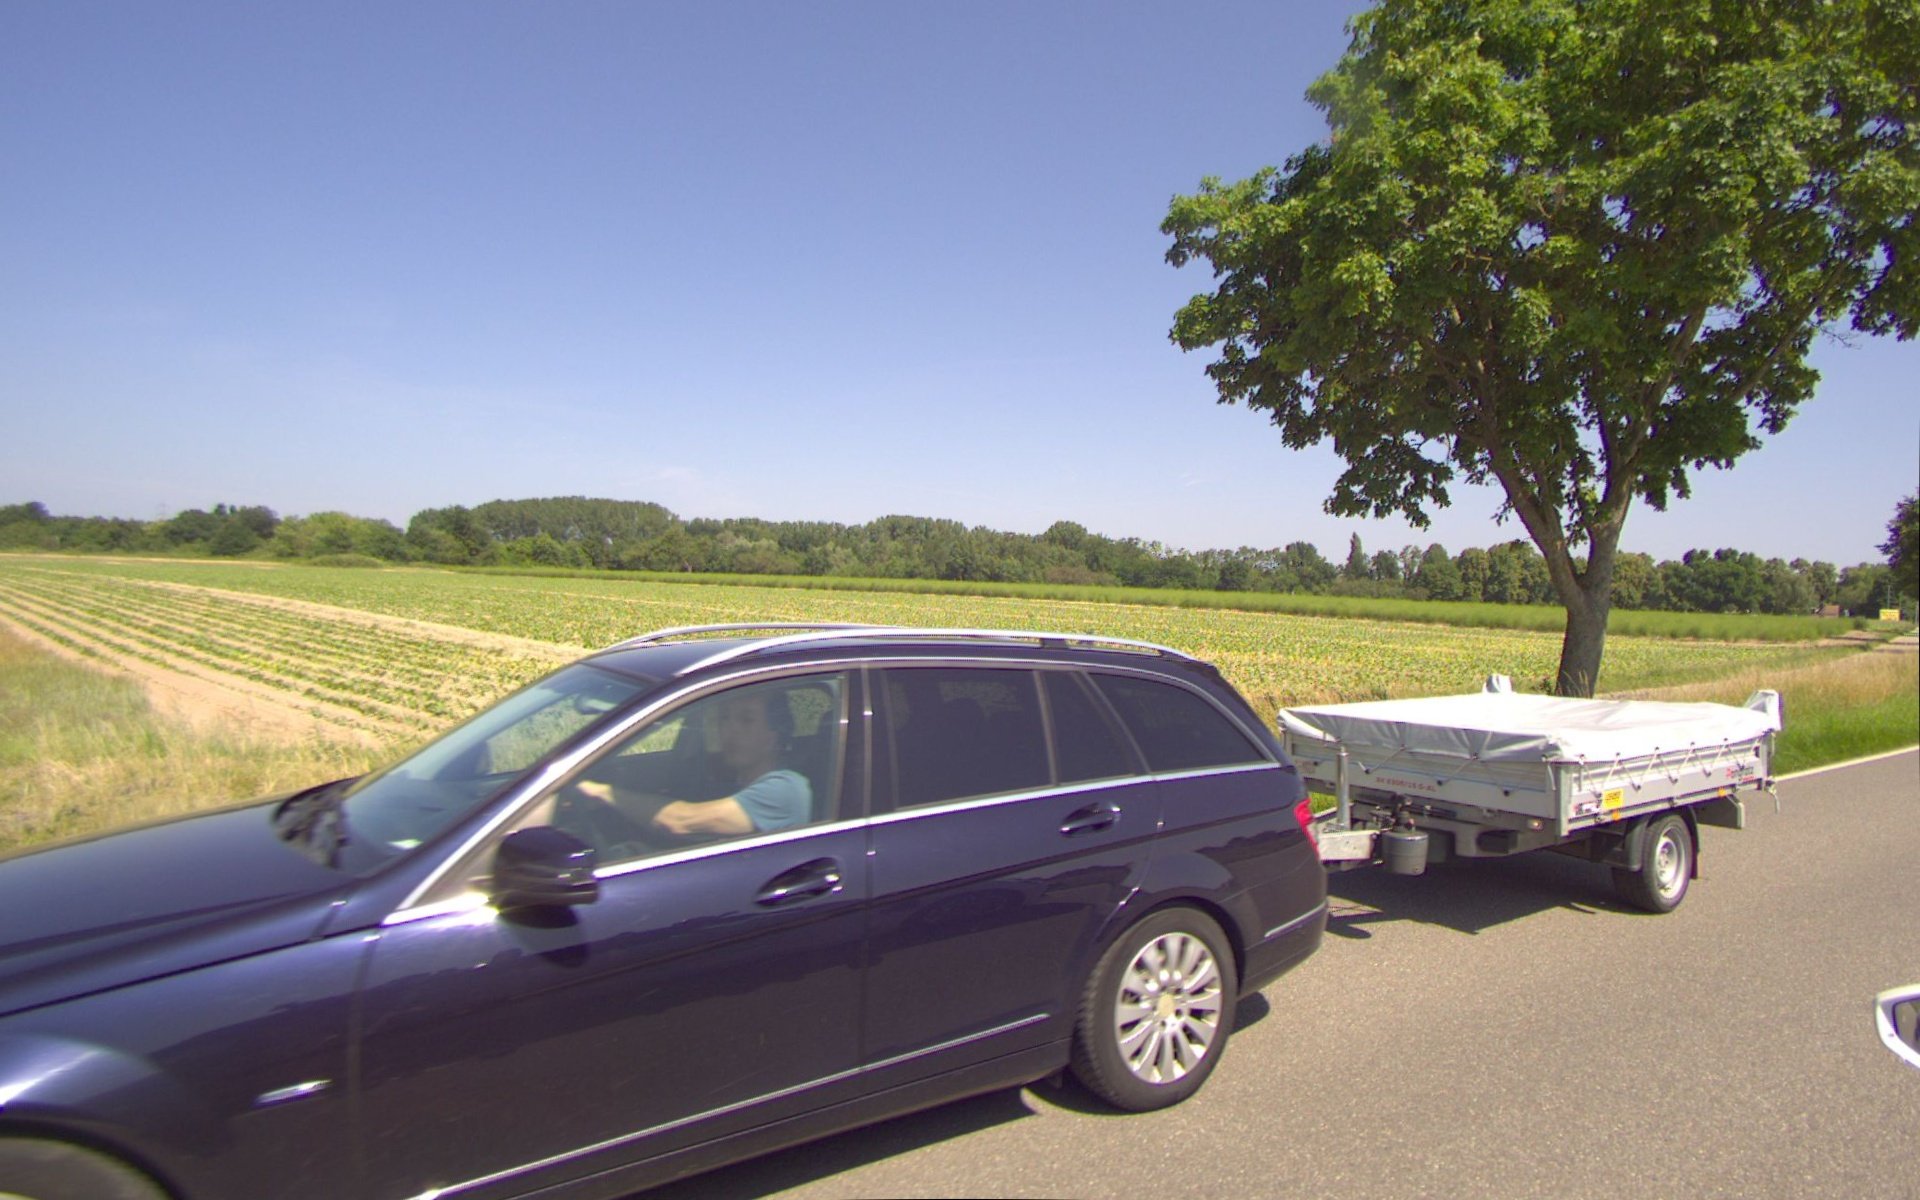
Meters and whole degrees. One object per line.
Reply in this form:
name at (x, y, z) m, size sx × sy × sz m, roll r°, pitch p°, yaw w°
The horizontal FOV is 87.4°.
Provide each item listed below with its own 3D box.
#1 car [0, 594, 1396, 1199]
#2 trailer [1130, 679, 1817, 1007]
car at (-0.554, 0.773, 3.255) m, size 4.136 × 1.448 × 1.634 m, roll 2°, pitch -2°, yaw -33°
trailer at (2.999, 1.053, 5.579) m, size 4.075 × 1.079 × 1.613 m, roll 2°, pitch -2°, yaw -33°
